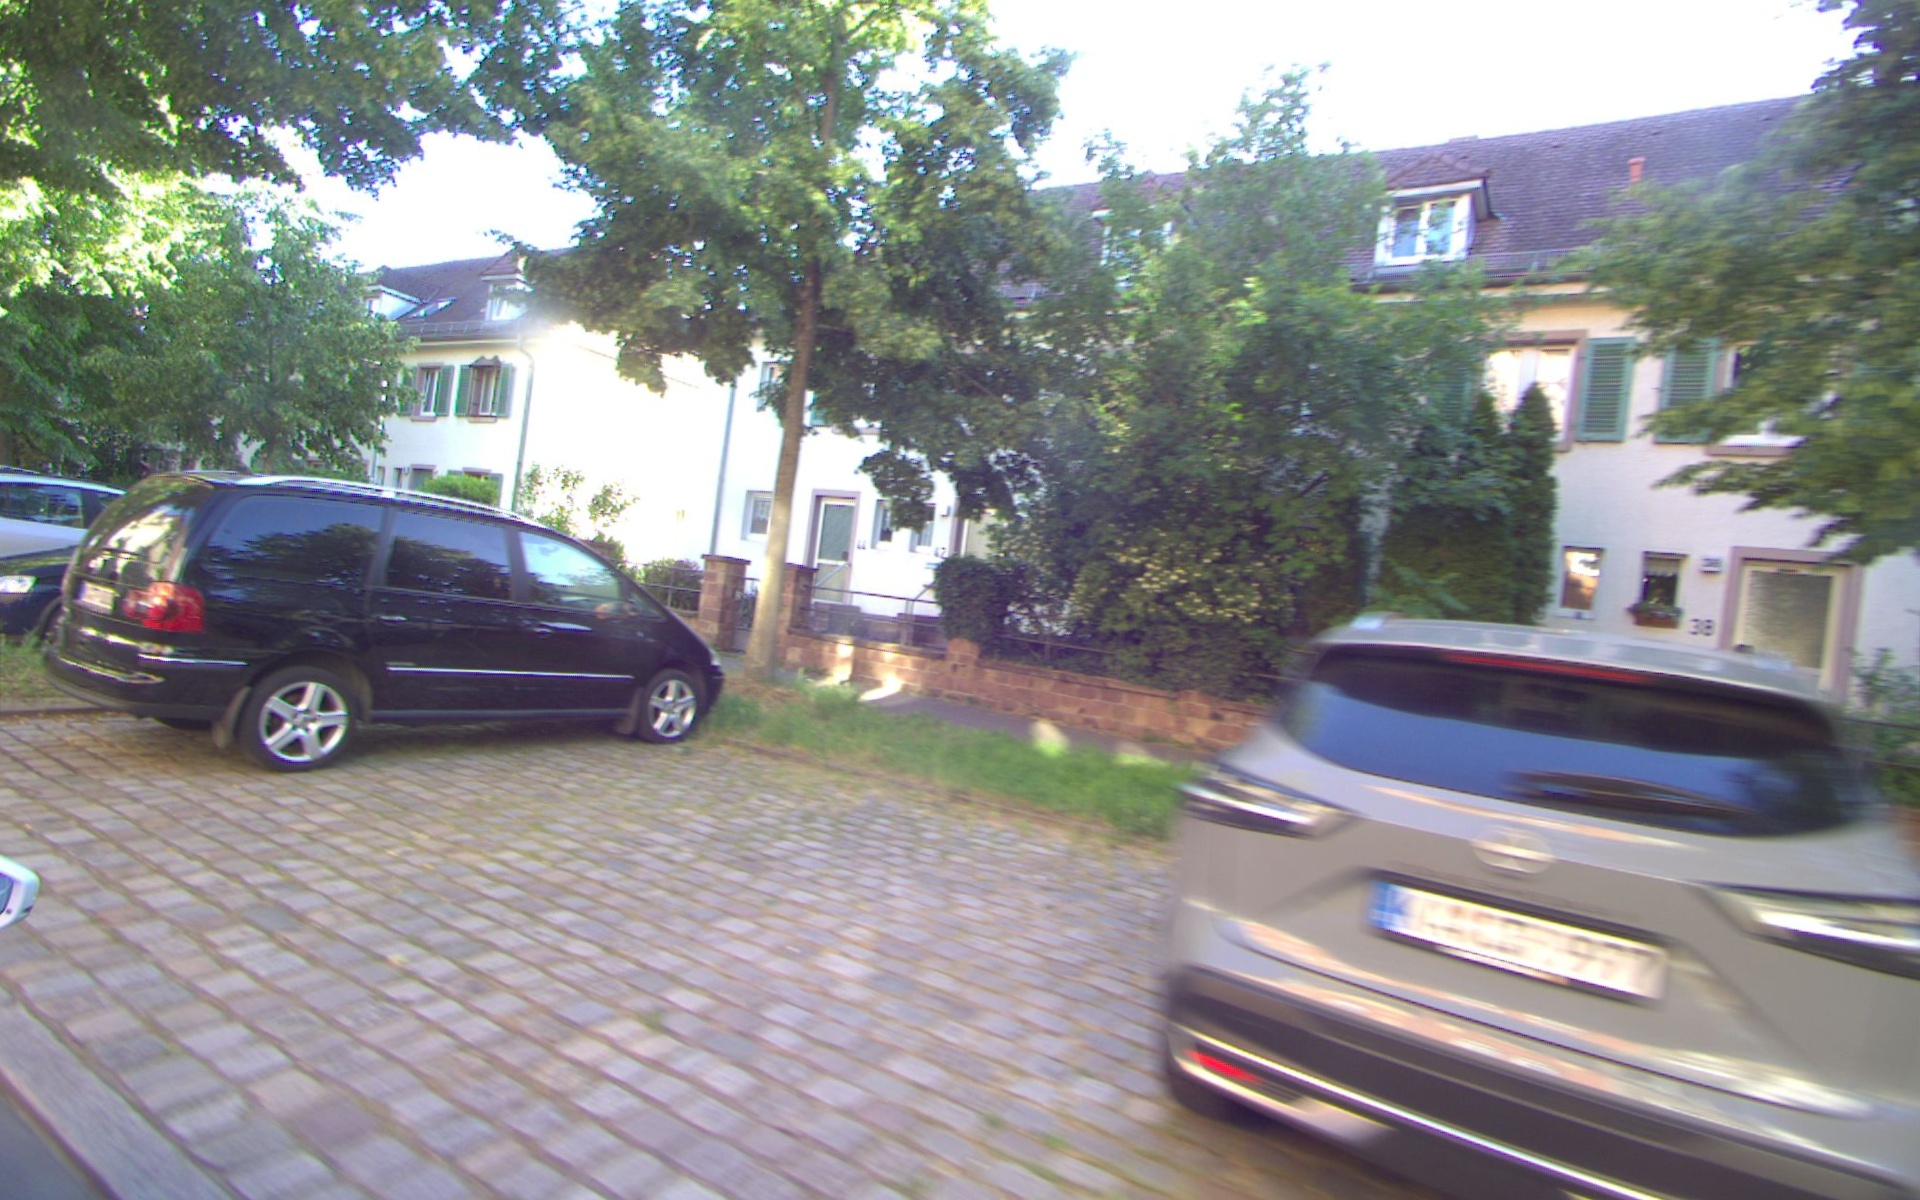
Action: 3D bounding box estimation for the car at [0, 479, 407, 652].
[{"bbox_3d":[-8.070,-0.320,10.470,1.562,1.473,3.722,7,3,31],"label":"car"}]

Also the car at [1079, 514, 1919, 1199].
[{"bbox_3d":[2.305,0.766,3.984,1.844,1.655,4.477,7,3,31],"label":"car"}]

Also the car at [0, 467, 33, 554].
[{"bbox_3d":[-18.793,-1.751,17.163,1.666,1.496,4.067,8,3,32],"label":"car"}]

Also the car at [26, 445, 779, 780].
[{"bbox_3d":[-3.727,0.062,7.625,1.876,1.700,4.580,8,3,33],"label":"car"}]

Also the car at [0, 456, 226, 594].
[{"bbox_3d":[-12.564,-1.039,13.056,1.780,1.655,4.544,7,2,26],"label":"car"}]

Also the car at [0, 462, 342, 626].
[{"bbox_3d":[-9.940,-0.640,11.753,1.663,1.655,4.269,8,3,35],"label":"car"}]
